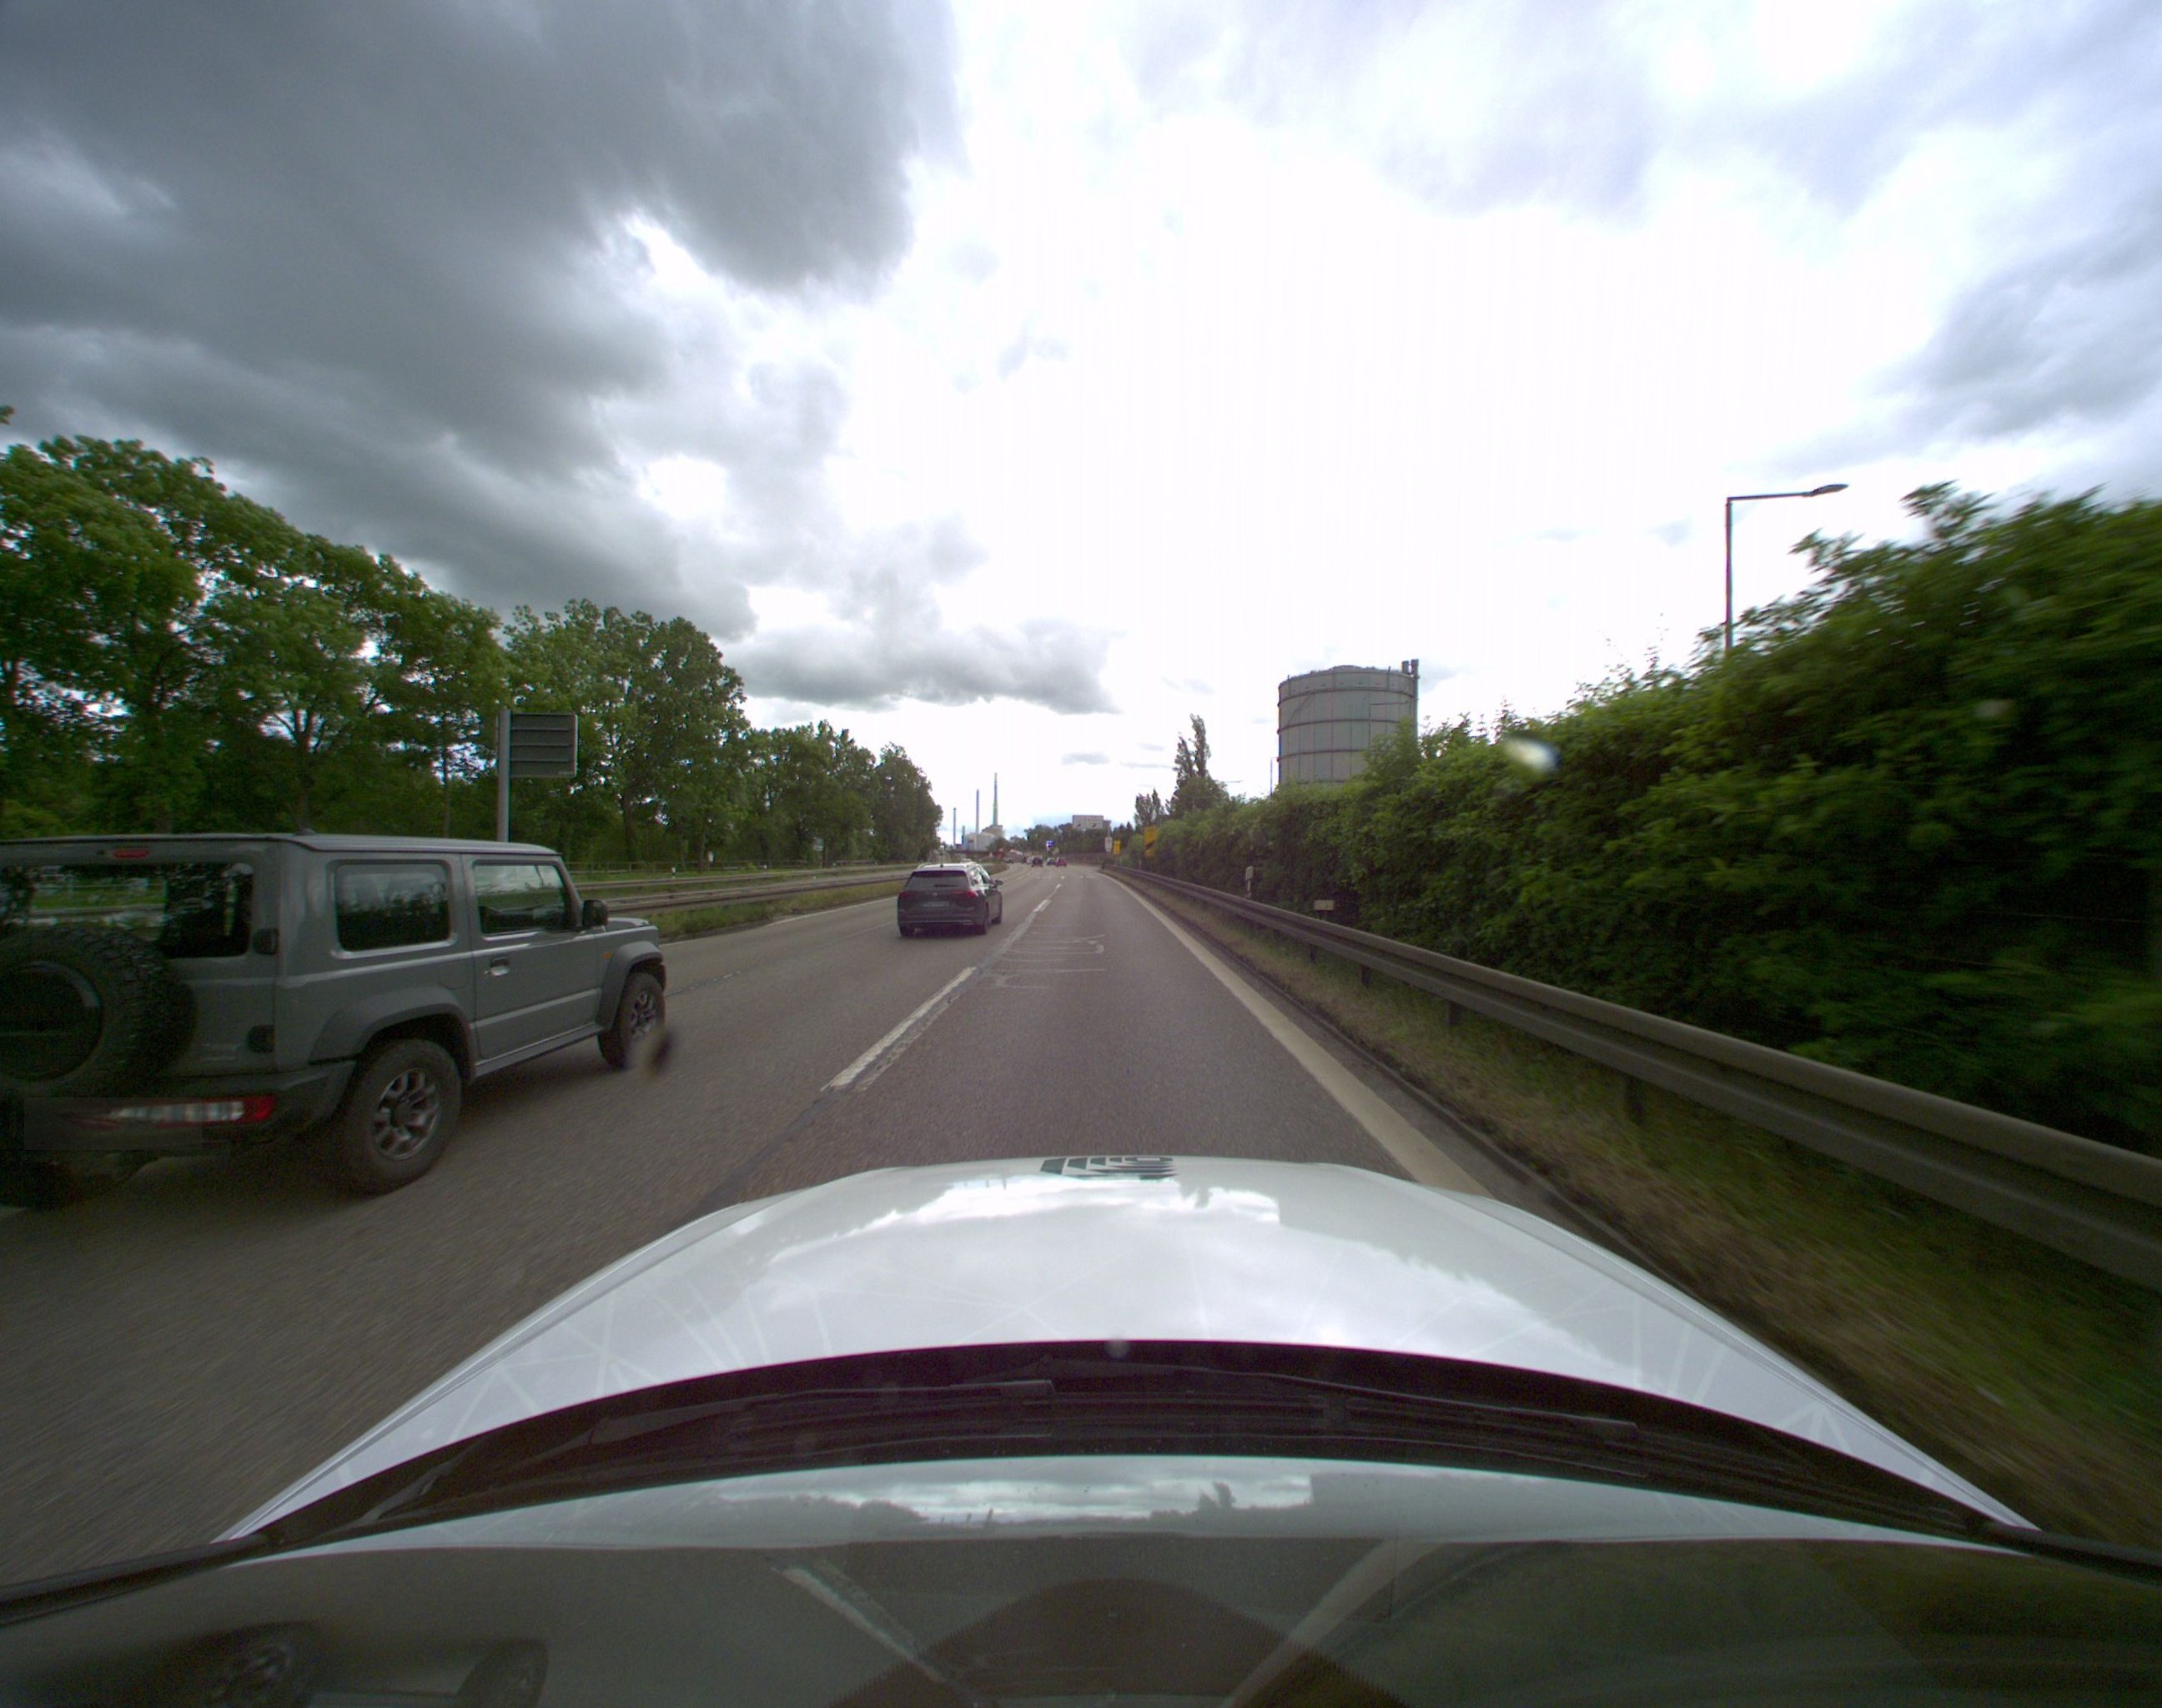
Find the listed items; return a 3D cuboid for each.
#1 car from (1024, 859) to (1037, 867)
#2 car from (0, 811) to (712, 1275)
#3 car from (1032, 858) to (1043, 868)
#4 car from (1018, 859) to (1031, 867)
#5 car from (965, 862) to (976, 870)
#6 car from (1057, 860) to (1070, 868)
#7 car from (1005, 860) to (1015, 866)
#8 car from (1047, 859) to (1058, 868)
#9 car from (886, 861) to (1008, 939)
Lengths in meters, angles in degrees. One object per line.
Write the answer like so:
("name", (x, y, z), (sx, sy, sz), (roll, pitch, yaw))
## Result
("car", (-11.923, 2.185, 192.620), (2.017, 1.934, 4.875), (-1, 0, -15))
("car", (-3.998, 0.702, 4.982), (1.693, 1.686, 3.998), (-1, 0, -1))
("car", (-7.428, 1.541, 139.888), (1.695, 1.742, 3.991), (-1, 0, -6))
("car", (-14.636, 2.344, 210.978), (2.019, 1.934, 4.870), (-1, 0, -18))
("car", (-19.084, 2.093, 140.908), (1.610, 1.386, 3.729), (0, 0, -3))
("car", (-2.975, 1.677, 136.853), (1.971, 1.423, 4.891), (-1, 0, -5))
("car", (-19.803, 2.488, 225.917), (1.703, 1.742, 4.365), (-1, 0, -19))
("car", (-5.766, 1.854, 165.357), (1.697, 1.742, 4.380), (-1, 0, -8))
("car", (-2.748, 0.893, 17.787), (1.839, 1.423, 4.899), (1, 0, 0))
